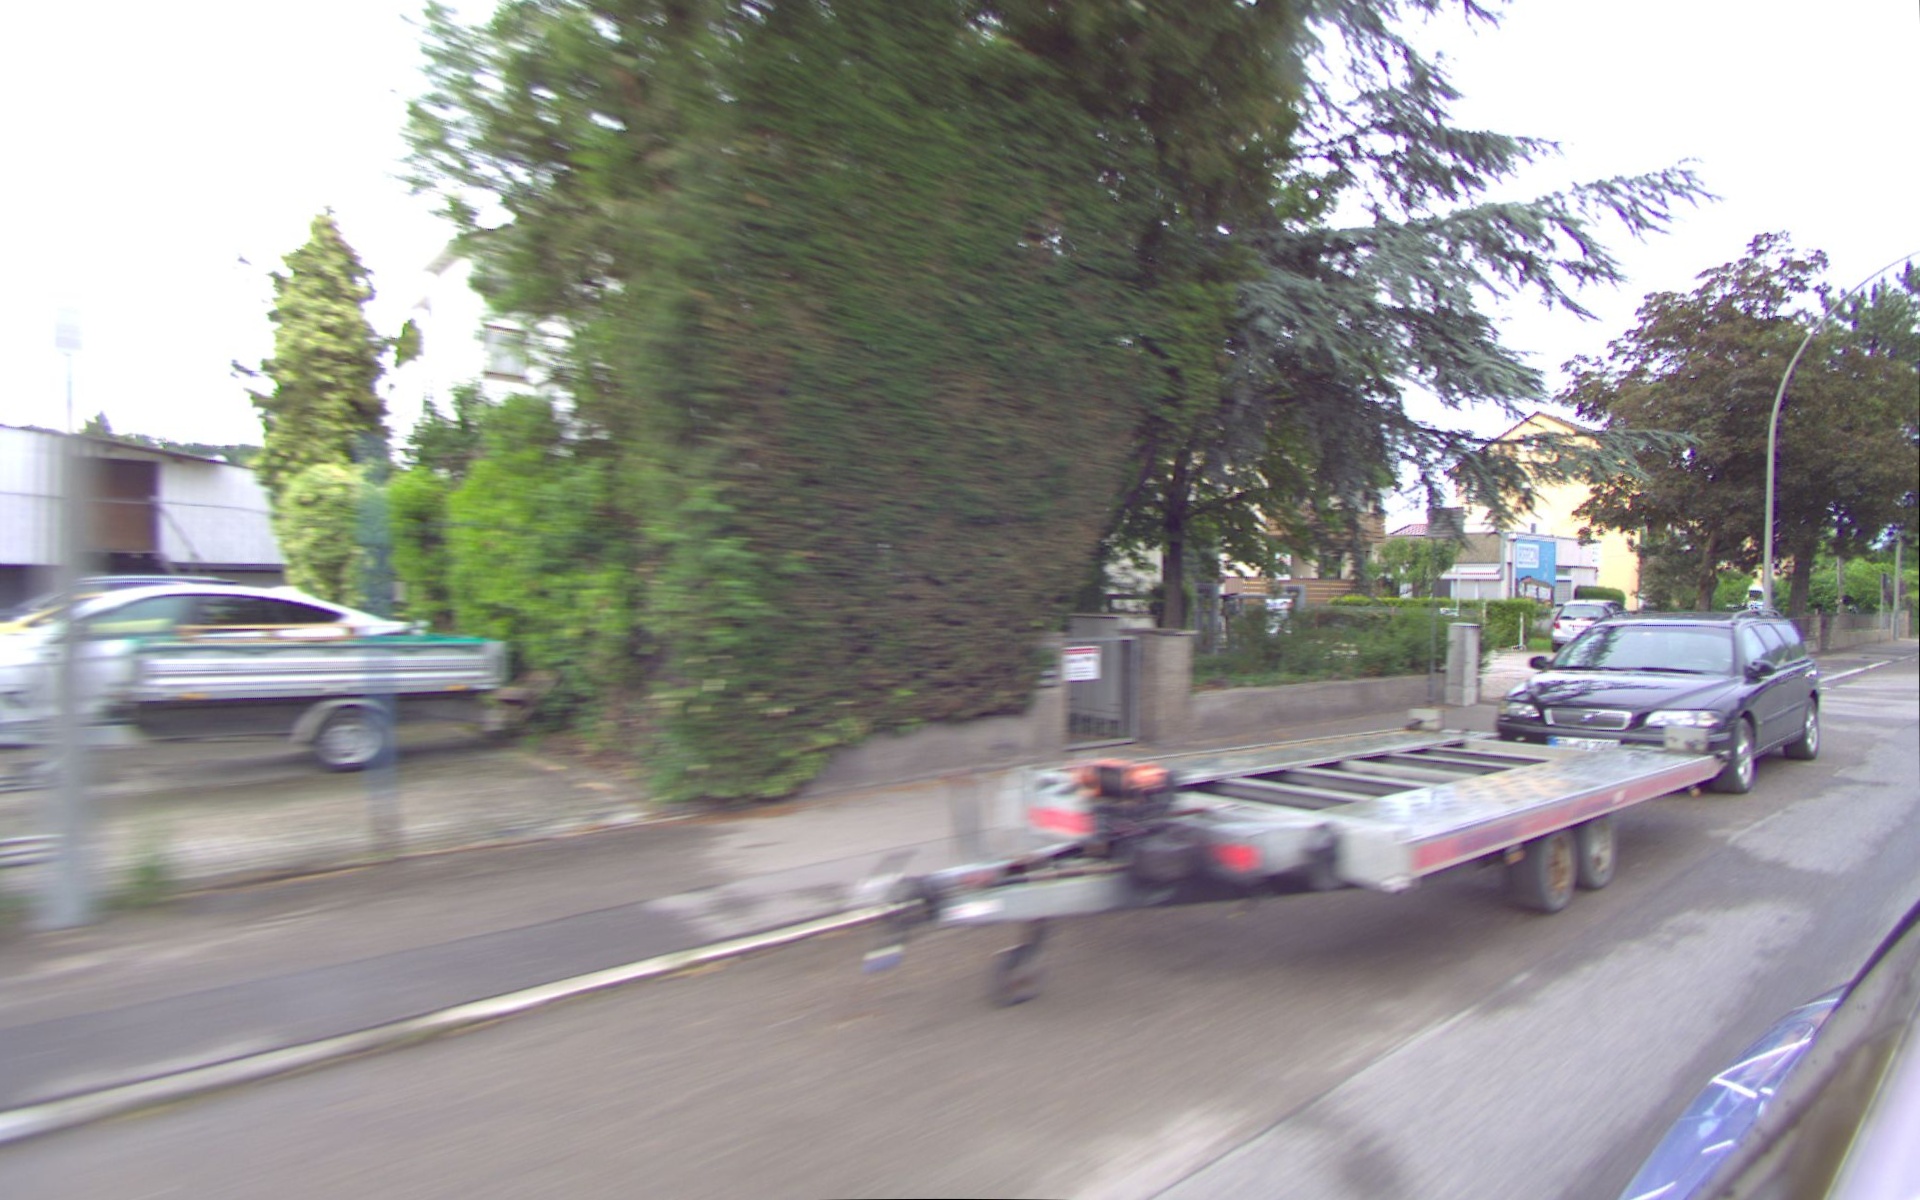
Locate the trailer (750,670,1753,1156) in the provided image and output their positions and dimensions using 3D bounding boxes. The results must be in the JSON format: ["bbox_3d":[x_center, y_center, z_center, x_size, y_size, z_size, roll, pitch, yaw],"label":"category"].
[{"bbox_3d":[2.268,1.019,5.619,6.520,0.909,2.177,1,-1,-41],"label":"trailer"}]

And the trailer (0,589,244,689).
[{"bbox_3d":[-13.941,0.572,16.133,4.023,1.483,1.643,0,0,-41],"label":"trailer"}]

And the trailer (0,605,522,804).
[{"bbox_3d":[-5.813,0.706,8.292,3.821,1.291,1.619,0,0,-38],"label":"trailer"}]

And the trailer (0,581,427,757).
[{"bbox_3d":[-8.259,0.590,10.304,4.725,1.539,1.770,0,1,-43],"label":"trailer"}]

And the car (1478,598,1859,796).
[{"bbox_3d":[6.879,0.739,9.626,4.564,1.451,1.743,0,-2,-39],"label":"car"}]

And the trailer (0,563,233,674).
[{"bbox_3d":[-15.899,0.313,18.179,1.993,1.836,4.335,-1,0,43],"label":"trailer"}]

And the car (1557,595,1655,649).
[{"bbox_3d":[19.651,0.614,30.730,1.744,1.507,4.052,1,1,44],"label":"car"}]
